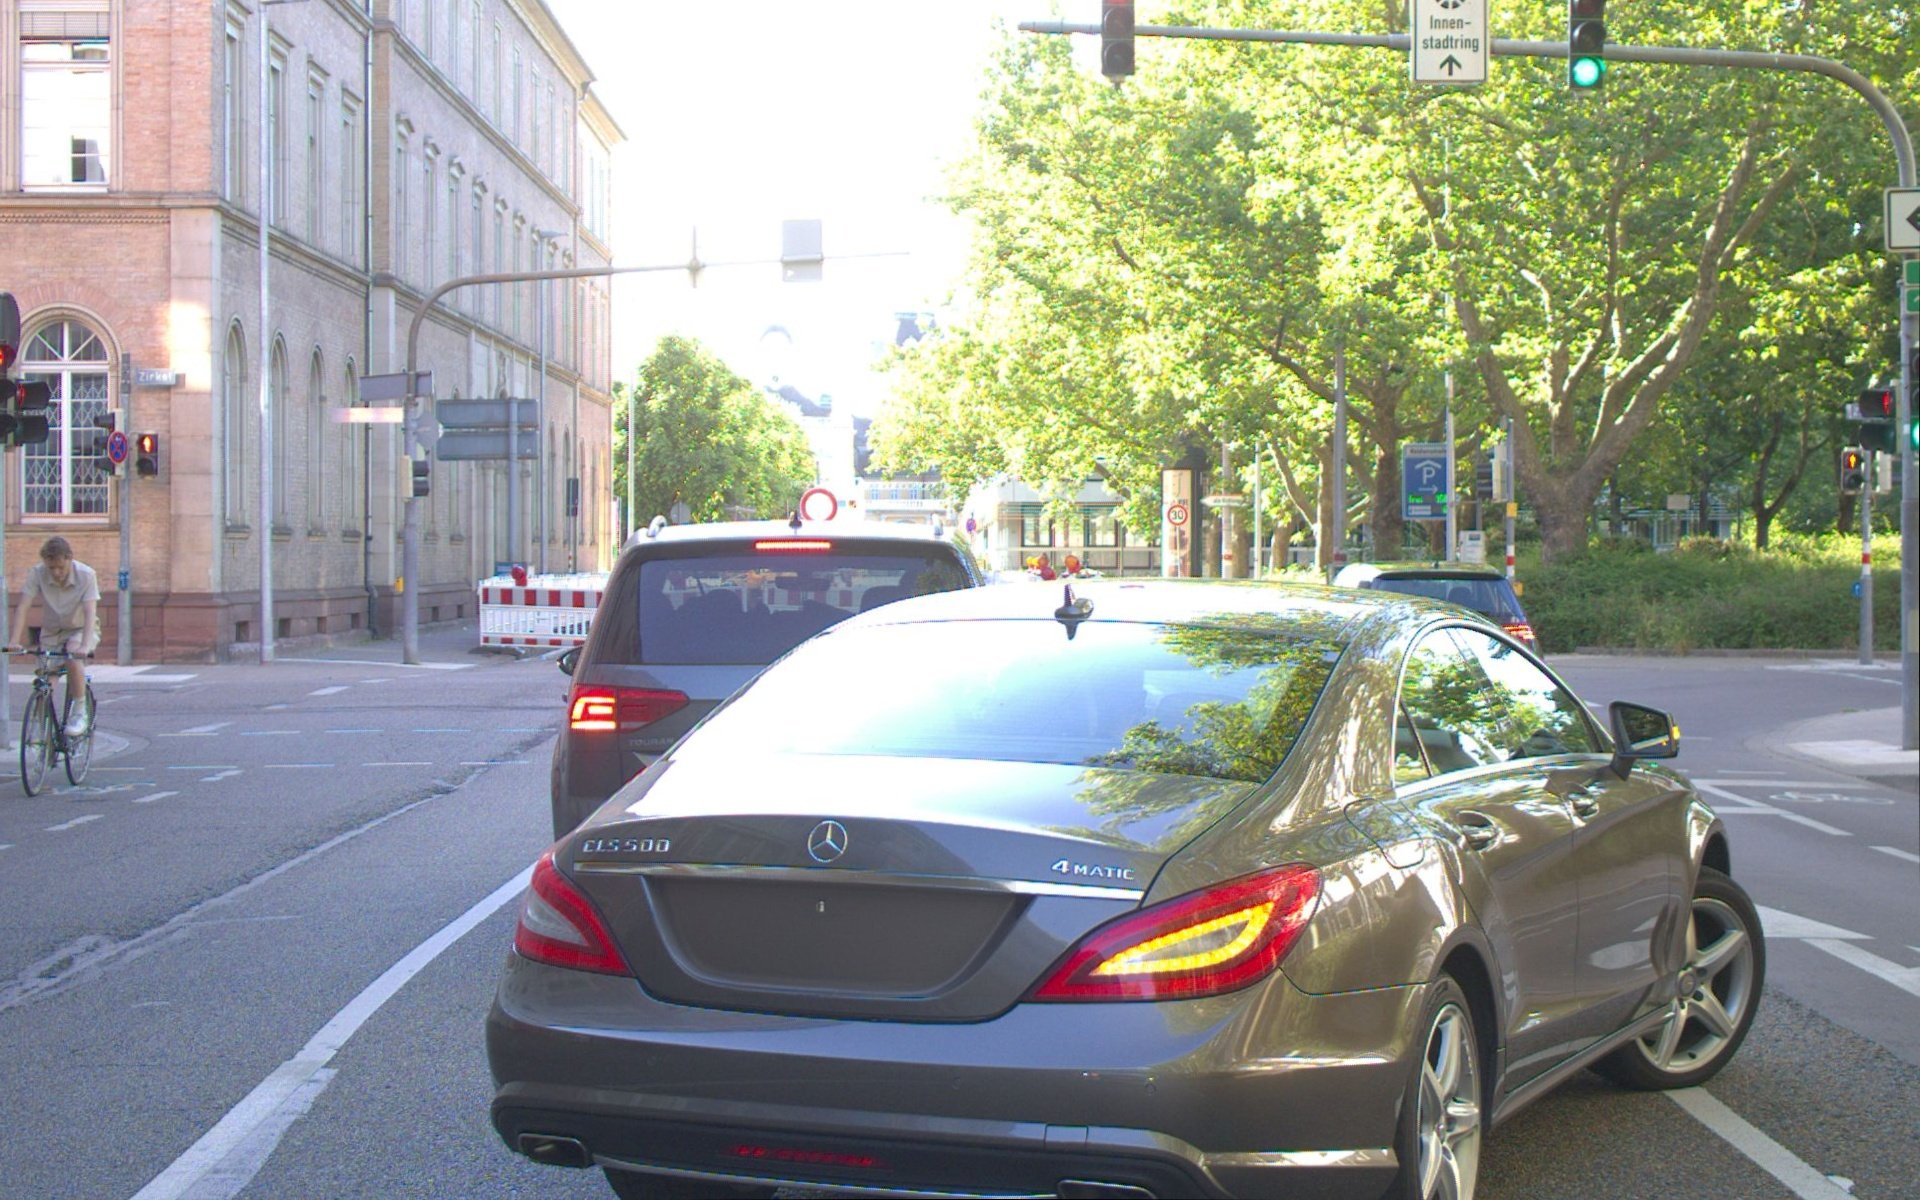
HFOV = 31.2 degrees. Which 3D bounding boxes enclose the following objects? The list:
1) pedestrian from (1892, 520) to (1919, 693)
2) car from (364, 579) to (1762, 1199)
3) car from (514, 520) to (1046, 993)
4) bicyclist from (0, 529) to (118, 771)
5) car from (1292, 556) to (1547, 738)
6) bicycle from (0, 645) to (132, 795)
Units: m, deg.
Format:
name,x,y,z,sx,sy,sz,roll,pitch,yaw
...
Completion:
name,x,y,z,sx,sy,sz,roll,pitch,yaw
pedestrian,10.301,0.064,36.237,0.732,1.802,0.909,-1,-1,4
car,0.594,0.679,8.322,1.845,1.424,4.512,1,1,23
car,-0.580,0.516,13.733,1.809,1.607,4.000,0,1,1
bicyclist,-5.938,0.317,22.503,0.648,1.553,0.807,1,0,-1
car,3.898,0.361,29.713,1.689,1.435,3.902,1,0,1
bicycle,-5.911,0.765,22.490,0.548,0.888,1.868,1,1,-1
